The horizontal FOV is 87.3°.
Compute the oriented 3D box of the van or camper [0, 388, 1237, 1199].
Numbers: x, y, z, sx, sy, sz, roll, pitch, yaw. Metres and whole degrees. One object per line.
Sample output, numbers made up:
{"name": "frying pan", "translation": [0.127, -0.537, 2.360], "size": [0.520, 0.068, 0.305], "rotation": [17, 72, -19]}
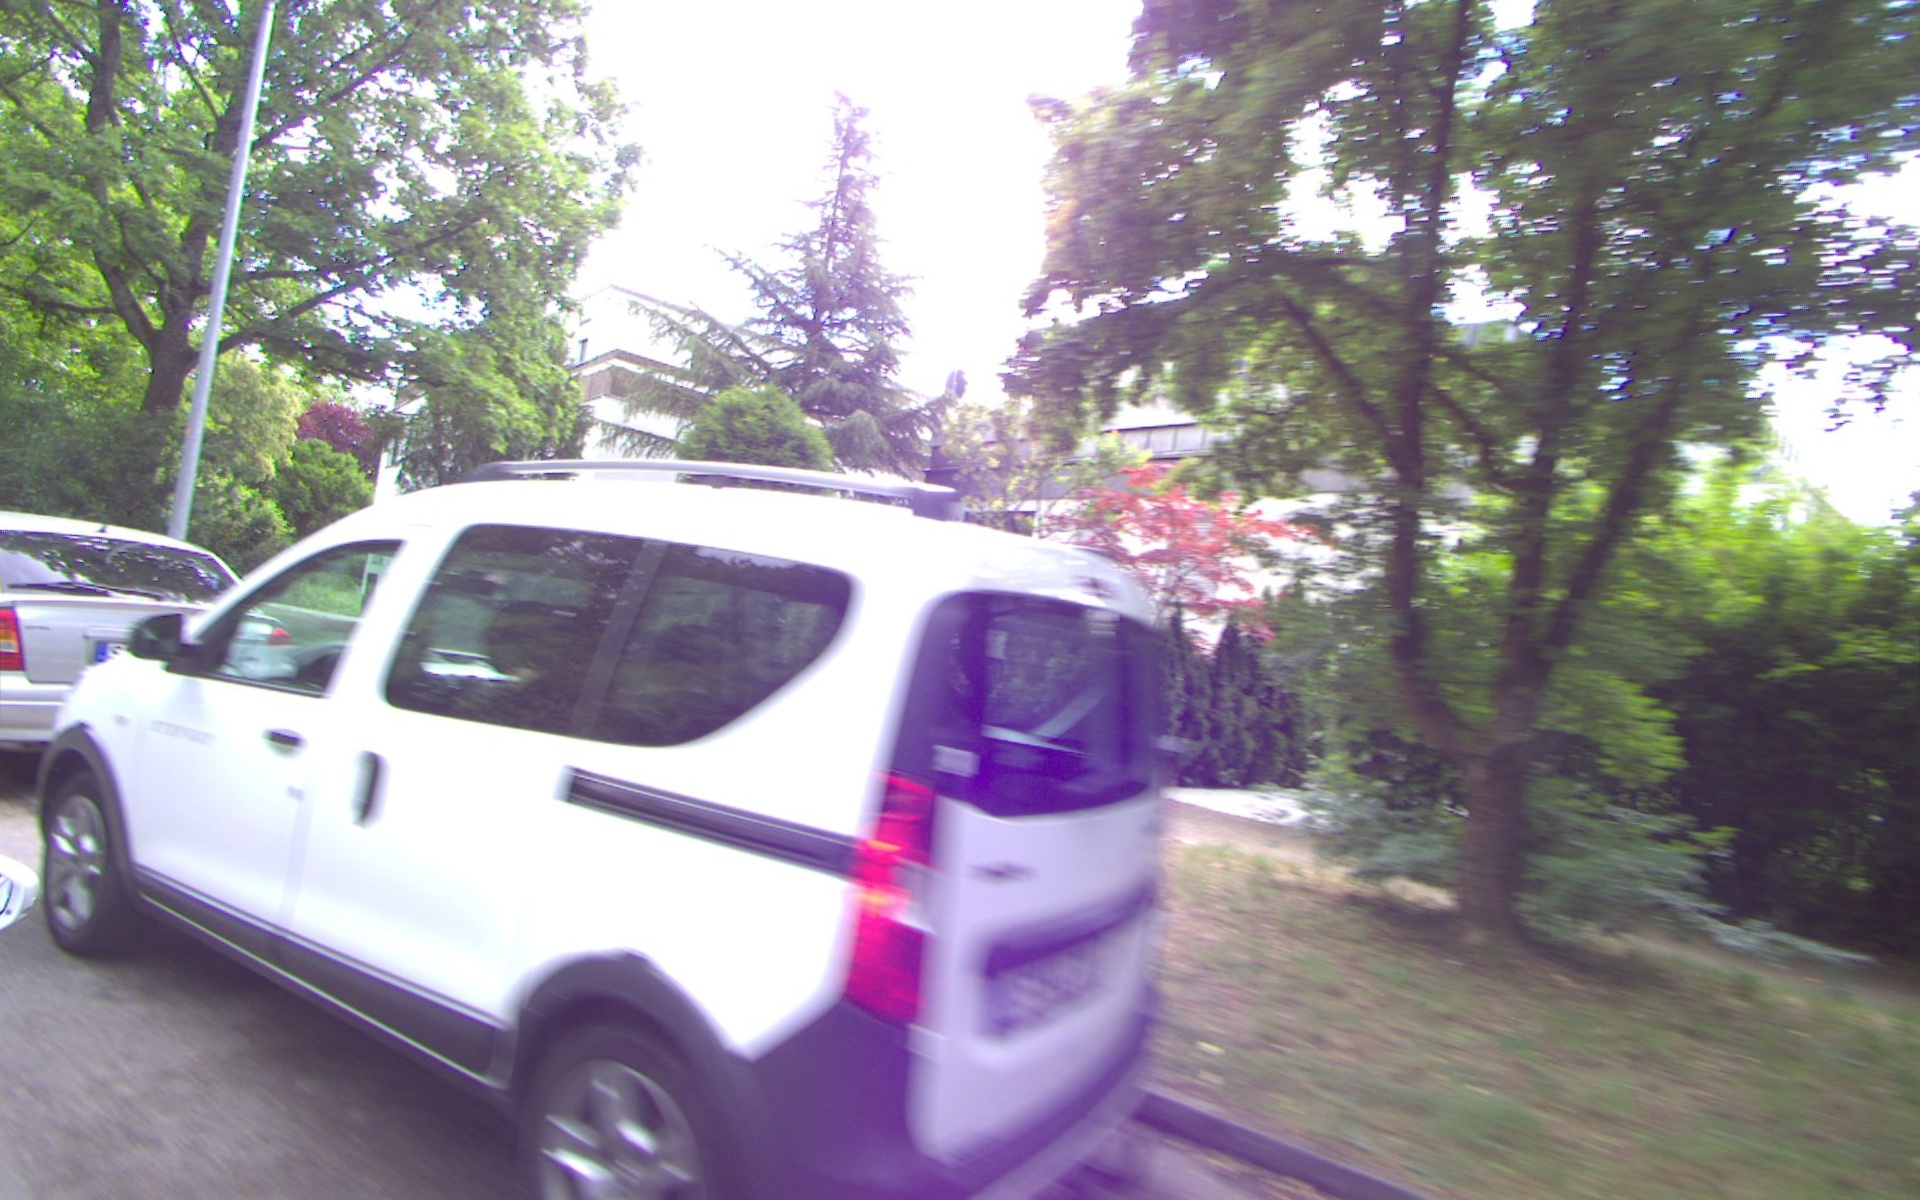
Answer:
{"name": "van or camper", "translation": [-1.477, 0.497, 3.532], "size": [4.249, 1.858, 1.806], "rotation": [5, -3, 31]}

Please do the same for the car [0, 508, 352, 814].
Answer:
{"name": "car", "translation": [-6.081, 0.170, 6.468], "size": [4.171, 1.453, 1.818], "rotation": [7, -3, 30]}

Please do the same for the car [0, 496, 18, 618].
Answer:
{"name": "car", "translation": [-11.106, -0.531, 9.383], "size": [4.399, 1.491, 1.853], "rotation": [7, -2, 26]}
